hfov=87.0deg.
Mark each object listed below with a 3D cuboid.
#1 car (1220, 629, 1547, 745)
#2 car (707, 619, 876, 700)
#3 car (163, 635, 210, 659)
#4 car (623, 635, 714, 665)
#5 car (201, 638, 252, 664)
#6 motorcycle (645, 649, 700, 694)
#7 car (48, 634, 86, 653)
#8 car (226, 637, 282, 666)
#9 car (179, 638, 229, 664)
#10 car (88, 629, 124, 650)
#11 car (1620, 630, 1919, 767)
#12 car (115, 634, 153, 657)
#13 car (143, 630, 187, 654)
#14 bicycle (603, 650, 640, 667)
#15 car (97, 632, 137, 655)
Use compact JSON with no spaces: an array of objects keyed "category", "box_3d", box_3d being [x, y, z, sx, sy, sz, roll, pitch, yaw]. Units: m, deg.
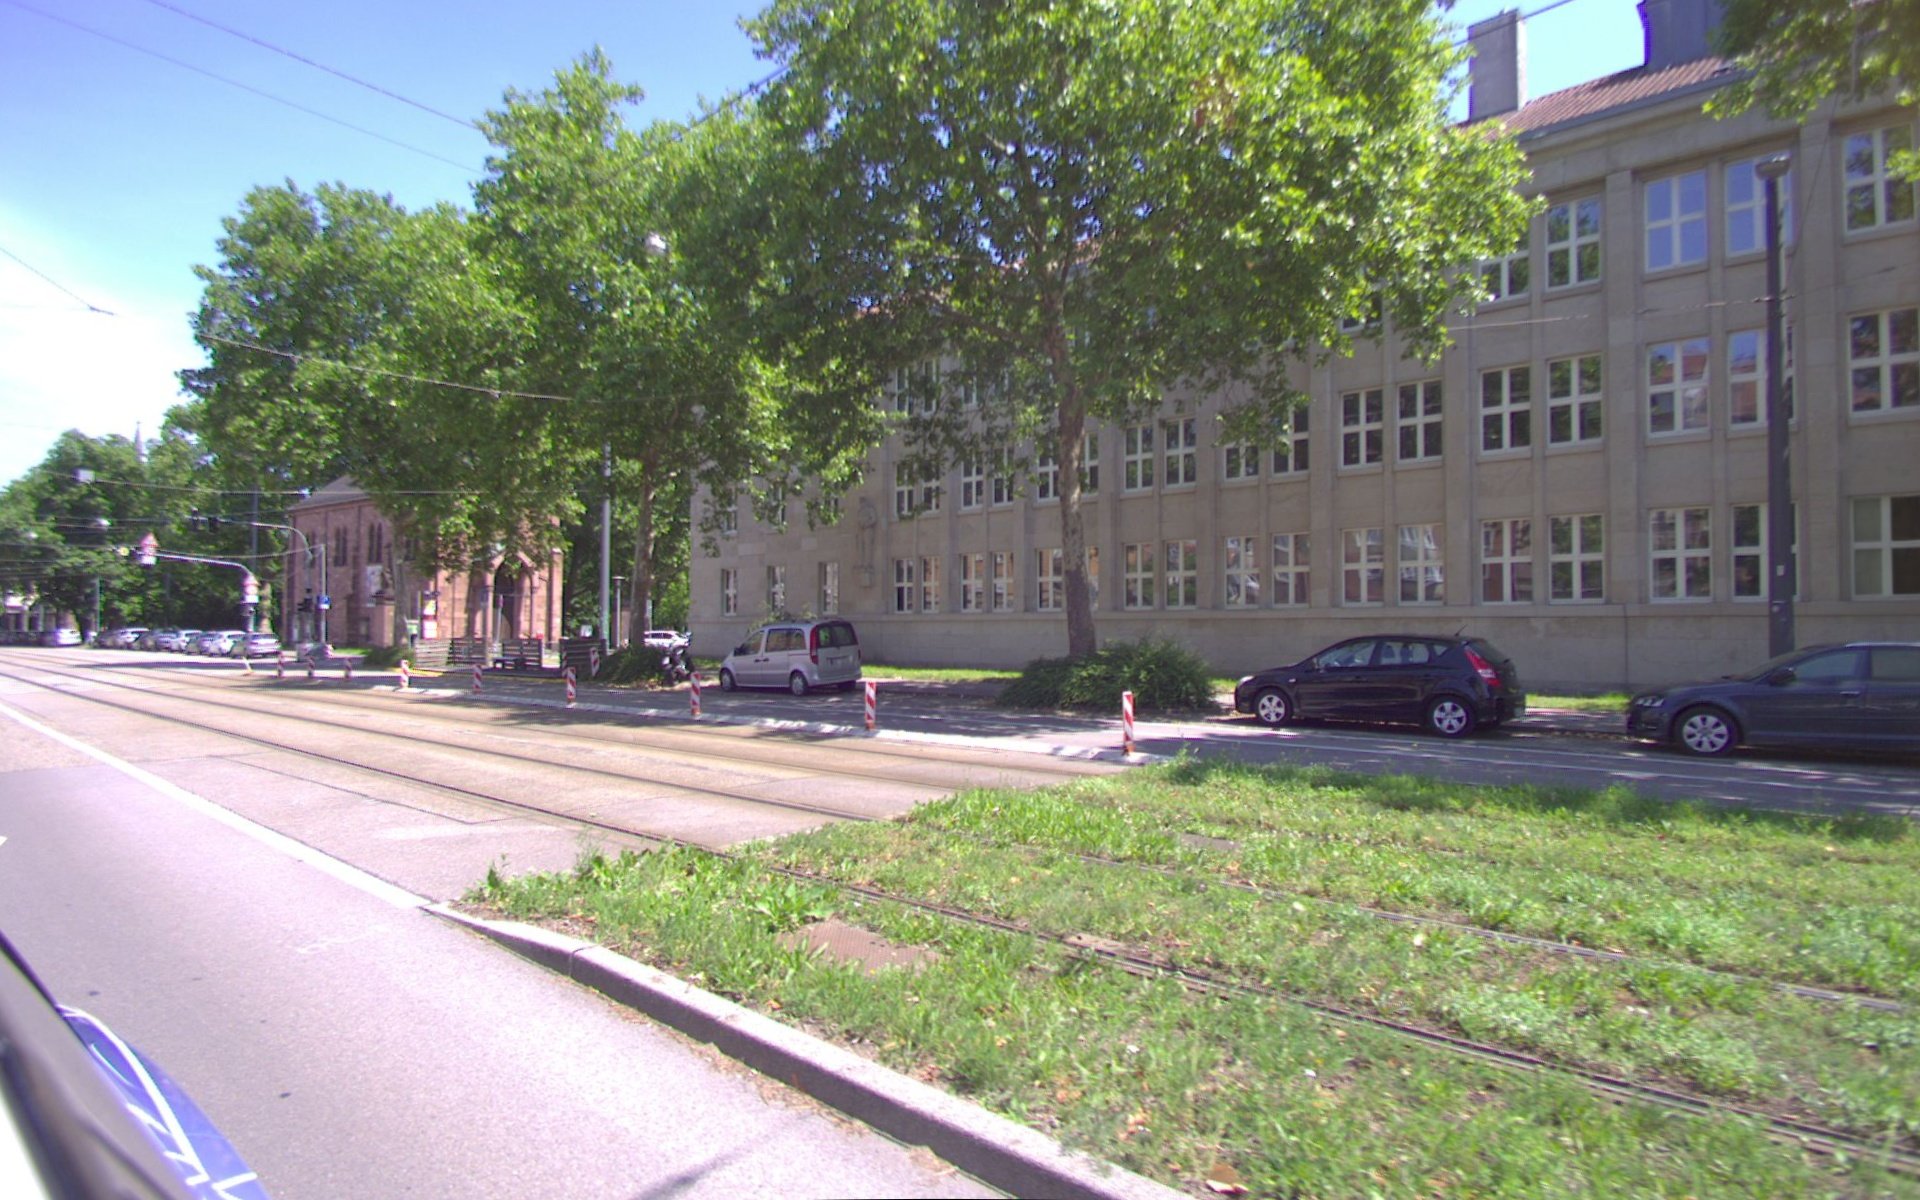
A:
[{"category":"car","box_3d":[6.397,1.225,15.610,4.322,1.494,1.744,-1,-1,42]},{"category":"car","box_3d":[-4.277,1.407,25.353,4.301,1.824,1.972,-1,-1,43]},{"category":"car","box_3d":[-51.386,3.119,67.225,3.750,1.470,1.725,-1,-1,40]},{"category":"car","box_3d":[-16.167,2.765,56.249,4.480,1.520,1.911,-1,-1,7]},{"category":"car","box_3d":[-43.873,3.026,60.494,4.057,1.470,1.641,-1,-1,42]},{"category":"motorcycle","box_3d":[-7.909,1.953,27.927,0.719,1.076,1.866,-1,1,10]},{"category":"car","box_3d":[-81.258,3.942,92.083,3.995,1.575,1.953,-1,-1,38]},{"category":"car","box_3d":[-39.868,2.876,57.106,4.219,1.470,1.641,-1,-1,42]},{"category":"car","box_3d":[-47.703,3.192,63.823,4.055,1.470,1.641,-1,-1,40]},{"category":"car","box_3d":[-73.075,3.388,86.600,3.730,1.704,1.802,-1,-1,41]},{"category":"car","box_3d":[10.386,1.093,11.872,4.317,1.434,1.573,-1,-1,38]},{"category":"car","box_3d":[-63.492,3.451,77.733,3.905,1.665,1.724,-1,-1,42]},{"category":"car","box_3d":[-55.572,2.918,70.709,3.750,1.535,1.725,-1,-1,40]},{"category":"bicycle","box_3d":[-18.240,3.139,54.518,1.895,0.907,0.640,-1,-1,21]},{"category":"car","box_3d":[-69.321,3.536,83.195,3.998,1.730,1.973,-1,-1,41]}]
